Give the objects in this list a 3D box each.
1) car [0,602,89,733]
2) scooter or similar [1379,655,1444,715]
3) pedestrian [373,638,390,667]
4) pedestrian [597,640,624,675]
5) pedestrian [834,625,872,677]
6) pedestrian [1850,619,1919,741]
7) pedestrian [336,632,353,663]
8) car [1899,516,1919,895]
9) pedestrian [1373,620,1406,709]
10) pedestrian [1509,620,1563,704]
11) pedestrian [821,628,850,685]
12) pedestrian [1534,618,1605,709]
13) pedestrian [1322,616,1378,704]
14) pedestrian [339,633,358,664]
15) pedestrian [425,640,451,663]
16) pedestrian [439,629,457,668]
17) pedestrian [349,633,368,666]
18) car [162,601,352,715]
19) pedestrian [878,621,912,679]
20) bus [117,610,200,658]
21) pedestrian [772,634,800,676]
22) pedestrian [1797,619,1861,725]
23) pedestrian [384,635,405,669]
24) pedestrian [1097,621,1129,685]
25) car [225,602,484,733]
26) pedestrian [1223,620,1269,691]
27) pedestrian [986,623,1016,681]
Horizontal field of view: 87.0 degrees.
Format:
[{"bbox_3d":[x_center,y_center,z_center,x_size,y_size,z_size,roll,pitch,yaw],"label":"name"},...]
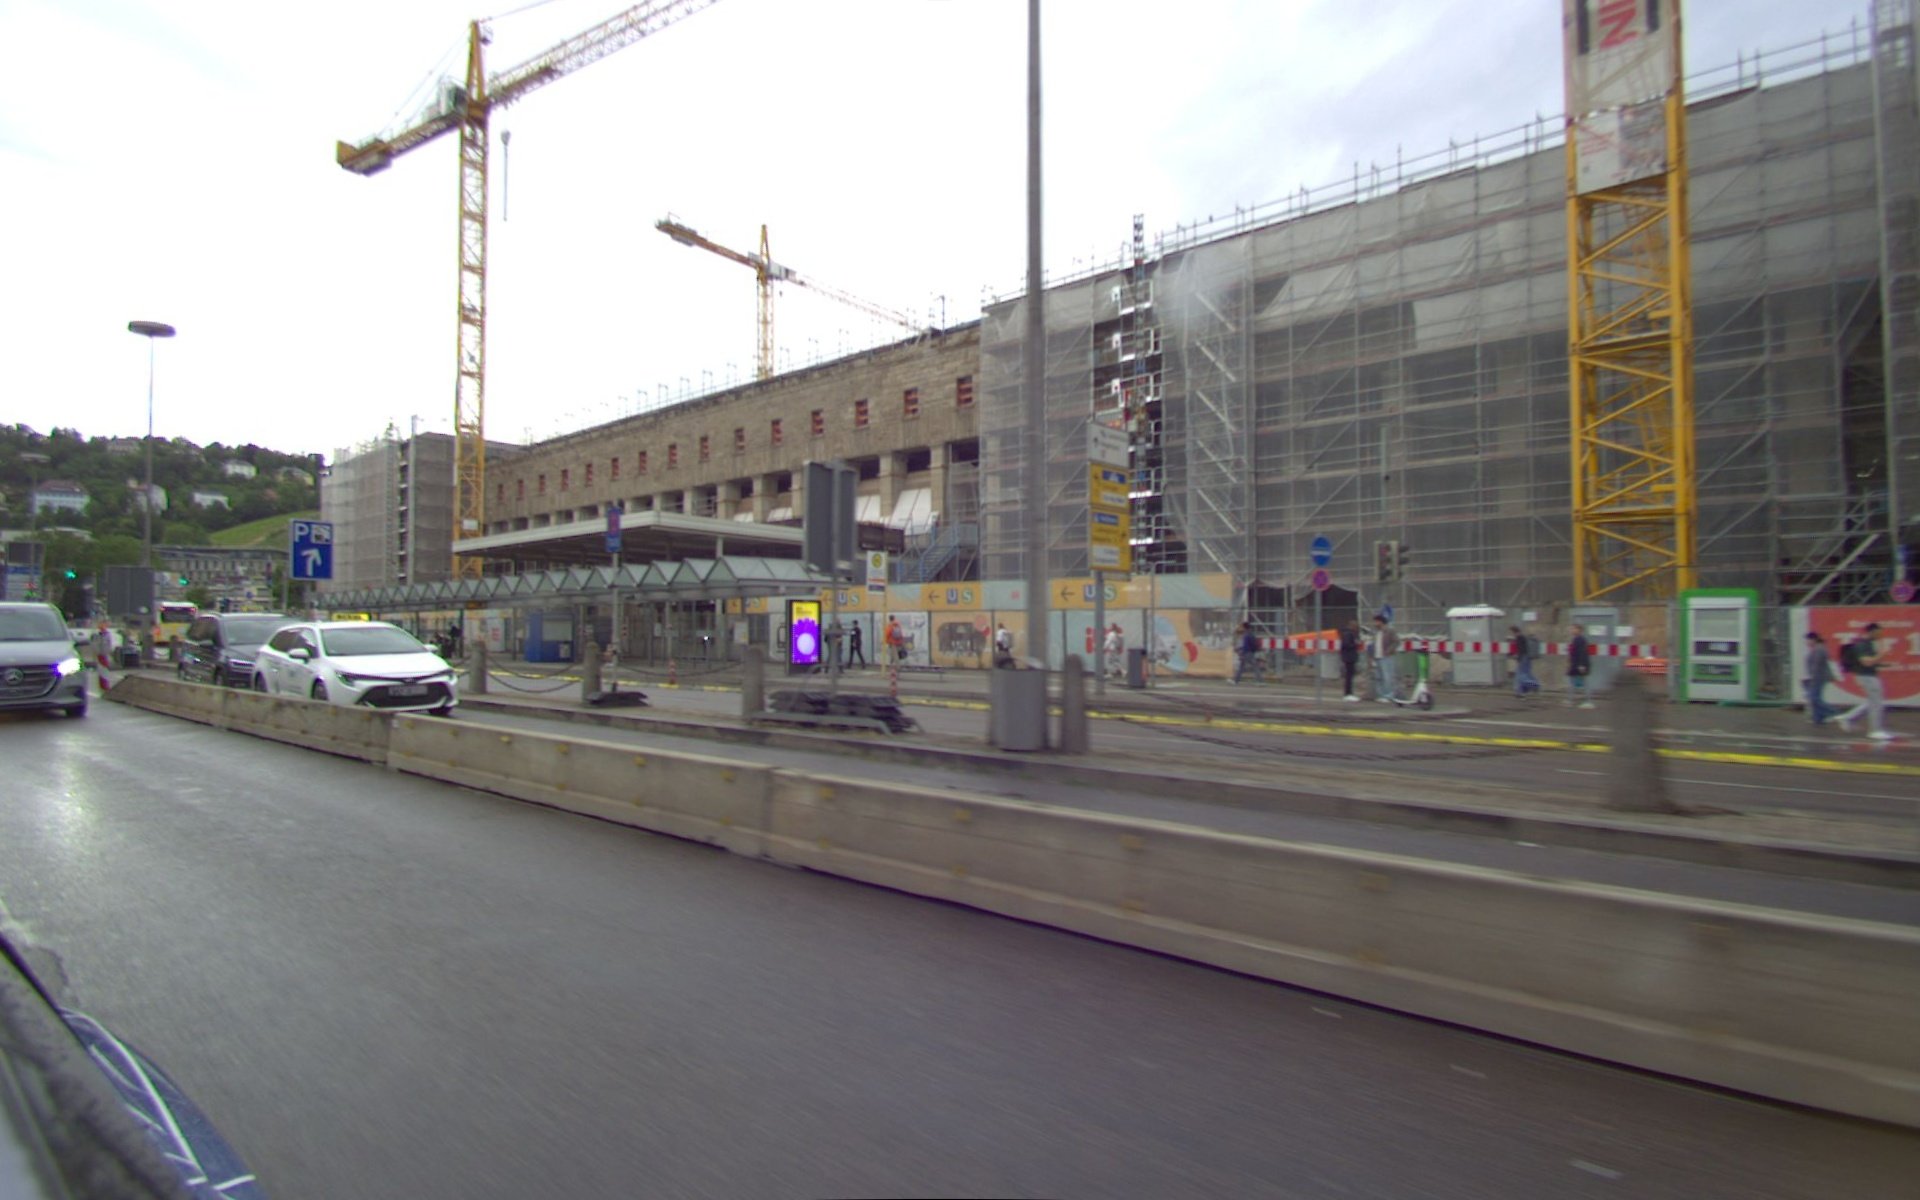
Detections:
[{"bbox_3d":[-16.132,1.057,16.609,5.246,1.919,1.973,-2,-1,40],"label":"car"},{"bbox_3d":[8.696,1.619,19.542,0.452,1.074,1.243,0,-2,-14],"label":"scooter or similar"},{"bbox_3d":[-34.260,3.102,59.940,0.803,1.643,0.551,-2,-2,34],"label":"pedestrian"},{"bbox_3d":[-13.878,2.273,40.180,0.805,1.336,0.692,-2,-2,40],"label":"pedestrian"},{"bbox_3d":[-3.921,1.848,37.110,1.044,1.855,0.848,-2,-1,42],"label":"pedestrian"},{"bbox_3d":[14.420,1.223,15.795,0.703,1.855,0.503,-2,-2,36],"label":"pedestrian"},{"bbox_3d":[-36.684,2.807,60.293,0.803,1.804,0.551,-2,-2,34],"label":"pedestrian"},{"bbox_3d":[5.808,0.439,2.742,4.638,1.666,1.973,-2,-3,40],"label":"car"},{"bbox_3d":[9.081,1.349,21.388,0.334,1.855,0.510,1,-2,-33],"label":"pedestrian"},{"bbox_3d":[13.075,1.391,22.993,0.793,1.855,0.851,1,-2,-45],"label":"pedestrian"},{"bbox_3d":[-4.076,1.835,33.103,0.734,1.855,0.704,0,-2,-28],"label":"pedestrian"},{"bbox_3d":[12.831,1.316,21.310,0.829,1.855,1.059,1,-2,-45],"label":"pedestrian"},{"bbox_3d":[8.362,1.268,21.720,0.692,1.855,0.880,0,-2,-20],"label":"pedestrian"},{"bbox_3d":[-35.630,2.817,59.002,0.746,1.804,0.717,-2,-2,36],"label":"pedestrian"},{"bbox_3d":[-27.342,2.713,53.017,1.054,1.167,0.939,-2,-2,42],"label":"pedestrian"},{"bbox_3d":[-24.764,2.345,48.949,0.549,1.862,0.678,0,-2,-3],"label":"pedestrian"},{"bbox_3d":[-33.178,2.702,55.796,0.765,1.804,0.862,1,-2,-41],"label":"pedestrian"},{"bbox_3d":[-13.412,1.044,19.187,4.832,1.876,1.972,-2,-3,43],"label":"car"},{"bbox_3d":[-2.284,1.742,35.414,0.863,1.954,0.735,-2,0,38],"label":"pedestrian"},{"bbox_3d":[-65.908,2.763,82.929,19.084,3.605,2.876,-2,-3,45],"label":"bus"},{"bbox_3d":[-6.731,2.116,39.081,0.700,1.559,0.795,-2,-2,36],"label":"pedestrian"},{"bbox_3d":[15.487,1.263,18.051,0.701,1.855,0.567,-1,-2,28],"label":"pedestrian"},{"bbox_3d":[-30.263,2.773,54.161,0.776,1.804,0.669,-1,-2,15],"label":"pedestrian"},{"bbox_3d":[4.567,1.567,30.152,0.713,1.855,0.612,1,-2,-45],"label":"pedestrian"},{"bbox_3d":[-9.472,0.964,15.663,4.829,1.719,1.973,-2,-3,40],"label":"car"},{"bbox_3d":[7.567,1.454,26.819,0.793,1.855,0.868,1,-2,-45],"label":"pedestrian"},{"bbox_3d":[1.348,1.689,33.117,0.734,1.855,0.656,1,-2,-45],"label":"pedestrian"}]
